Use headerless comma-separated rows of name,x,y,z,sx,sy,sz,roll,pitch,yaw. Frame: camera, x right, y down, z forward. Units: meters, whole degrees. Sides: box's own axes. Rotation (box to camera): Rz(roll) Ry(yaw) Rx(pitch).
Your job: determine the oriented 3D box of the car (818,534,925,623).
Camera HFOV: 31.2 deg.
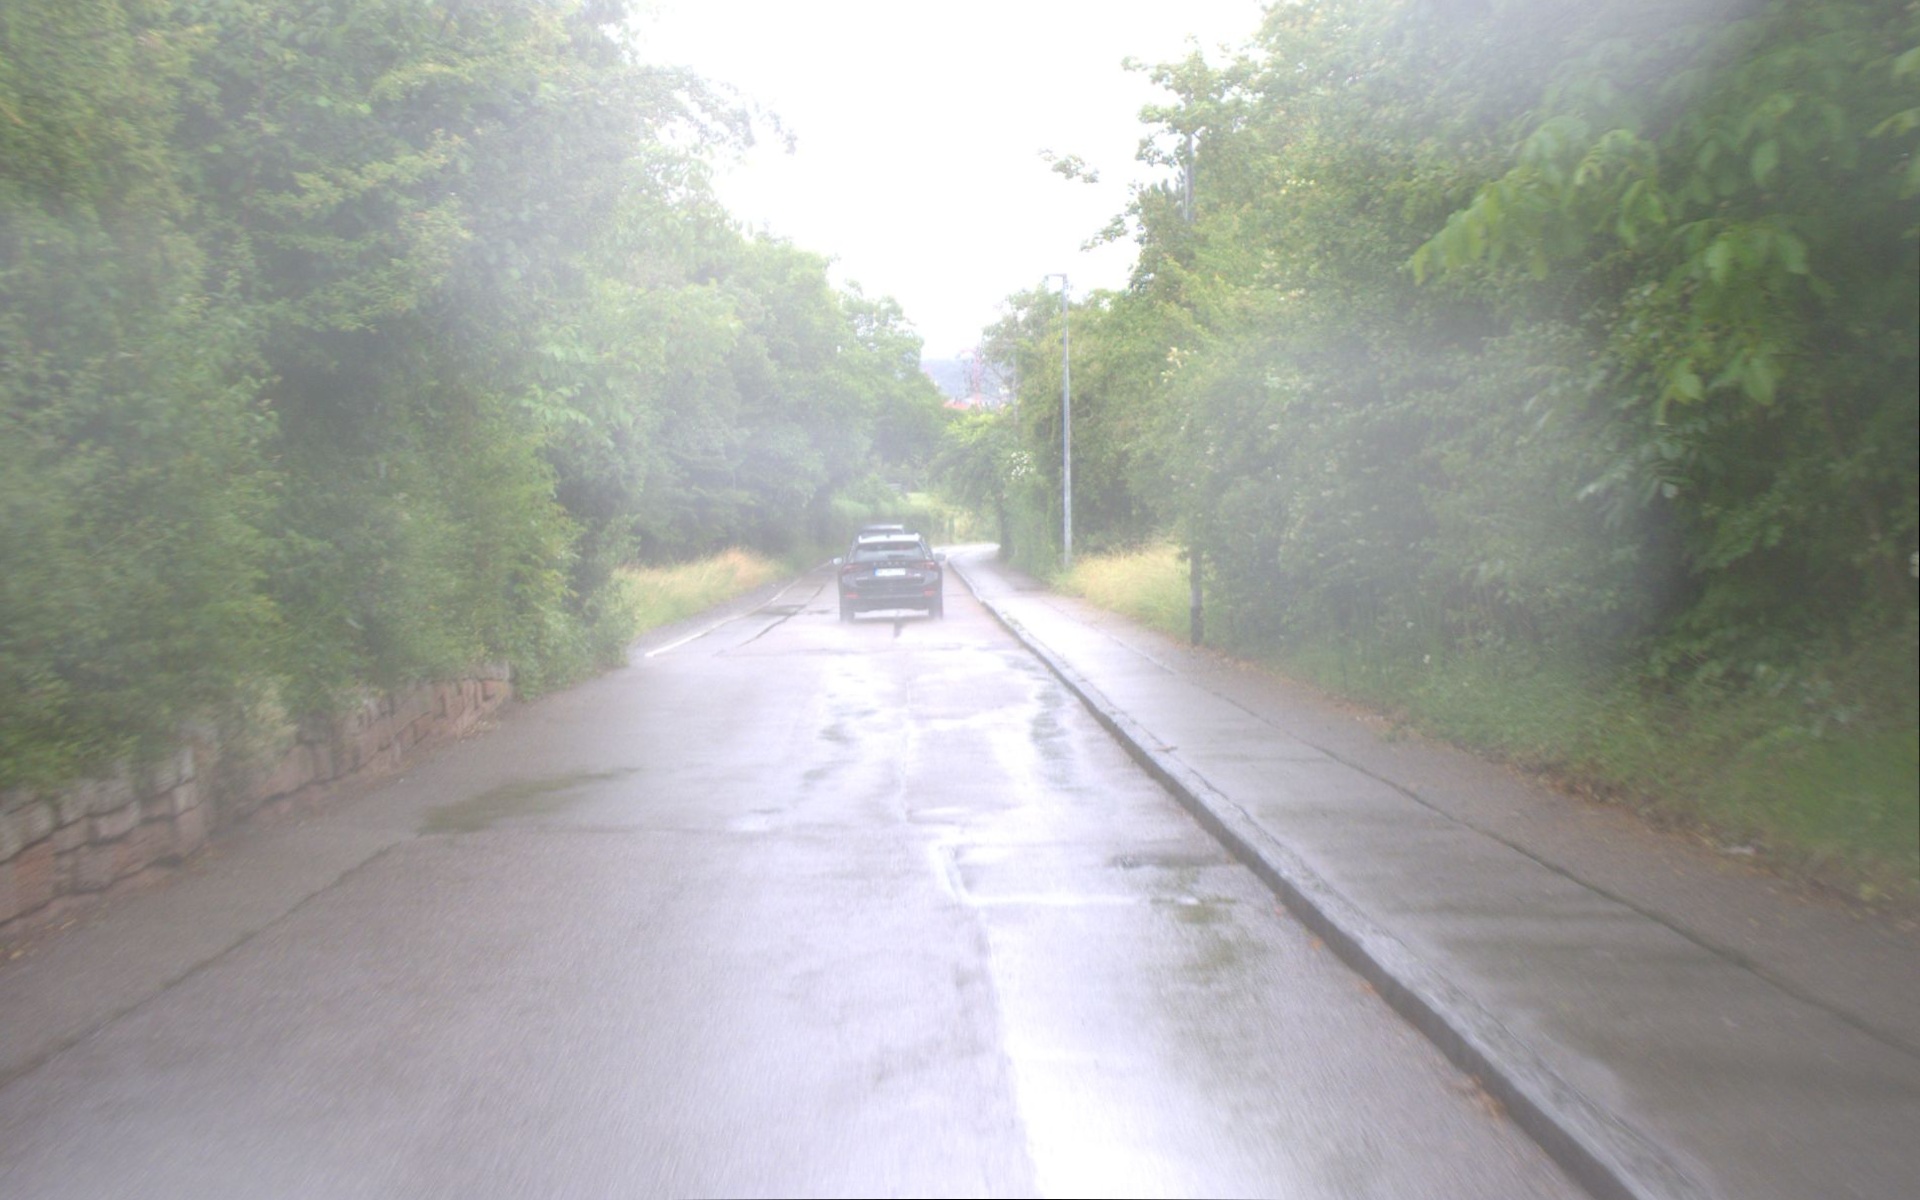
car,-1.493,-0.370,58.860,1.635,1.445,3.544,-1,0,1
